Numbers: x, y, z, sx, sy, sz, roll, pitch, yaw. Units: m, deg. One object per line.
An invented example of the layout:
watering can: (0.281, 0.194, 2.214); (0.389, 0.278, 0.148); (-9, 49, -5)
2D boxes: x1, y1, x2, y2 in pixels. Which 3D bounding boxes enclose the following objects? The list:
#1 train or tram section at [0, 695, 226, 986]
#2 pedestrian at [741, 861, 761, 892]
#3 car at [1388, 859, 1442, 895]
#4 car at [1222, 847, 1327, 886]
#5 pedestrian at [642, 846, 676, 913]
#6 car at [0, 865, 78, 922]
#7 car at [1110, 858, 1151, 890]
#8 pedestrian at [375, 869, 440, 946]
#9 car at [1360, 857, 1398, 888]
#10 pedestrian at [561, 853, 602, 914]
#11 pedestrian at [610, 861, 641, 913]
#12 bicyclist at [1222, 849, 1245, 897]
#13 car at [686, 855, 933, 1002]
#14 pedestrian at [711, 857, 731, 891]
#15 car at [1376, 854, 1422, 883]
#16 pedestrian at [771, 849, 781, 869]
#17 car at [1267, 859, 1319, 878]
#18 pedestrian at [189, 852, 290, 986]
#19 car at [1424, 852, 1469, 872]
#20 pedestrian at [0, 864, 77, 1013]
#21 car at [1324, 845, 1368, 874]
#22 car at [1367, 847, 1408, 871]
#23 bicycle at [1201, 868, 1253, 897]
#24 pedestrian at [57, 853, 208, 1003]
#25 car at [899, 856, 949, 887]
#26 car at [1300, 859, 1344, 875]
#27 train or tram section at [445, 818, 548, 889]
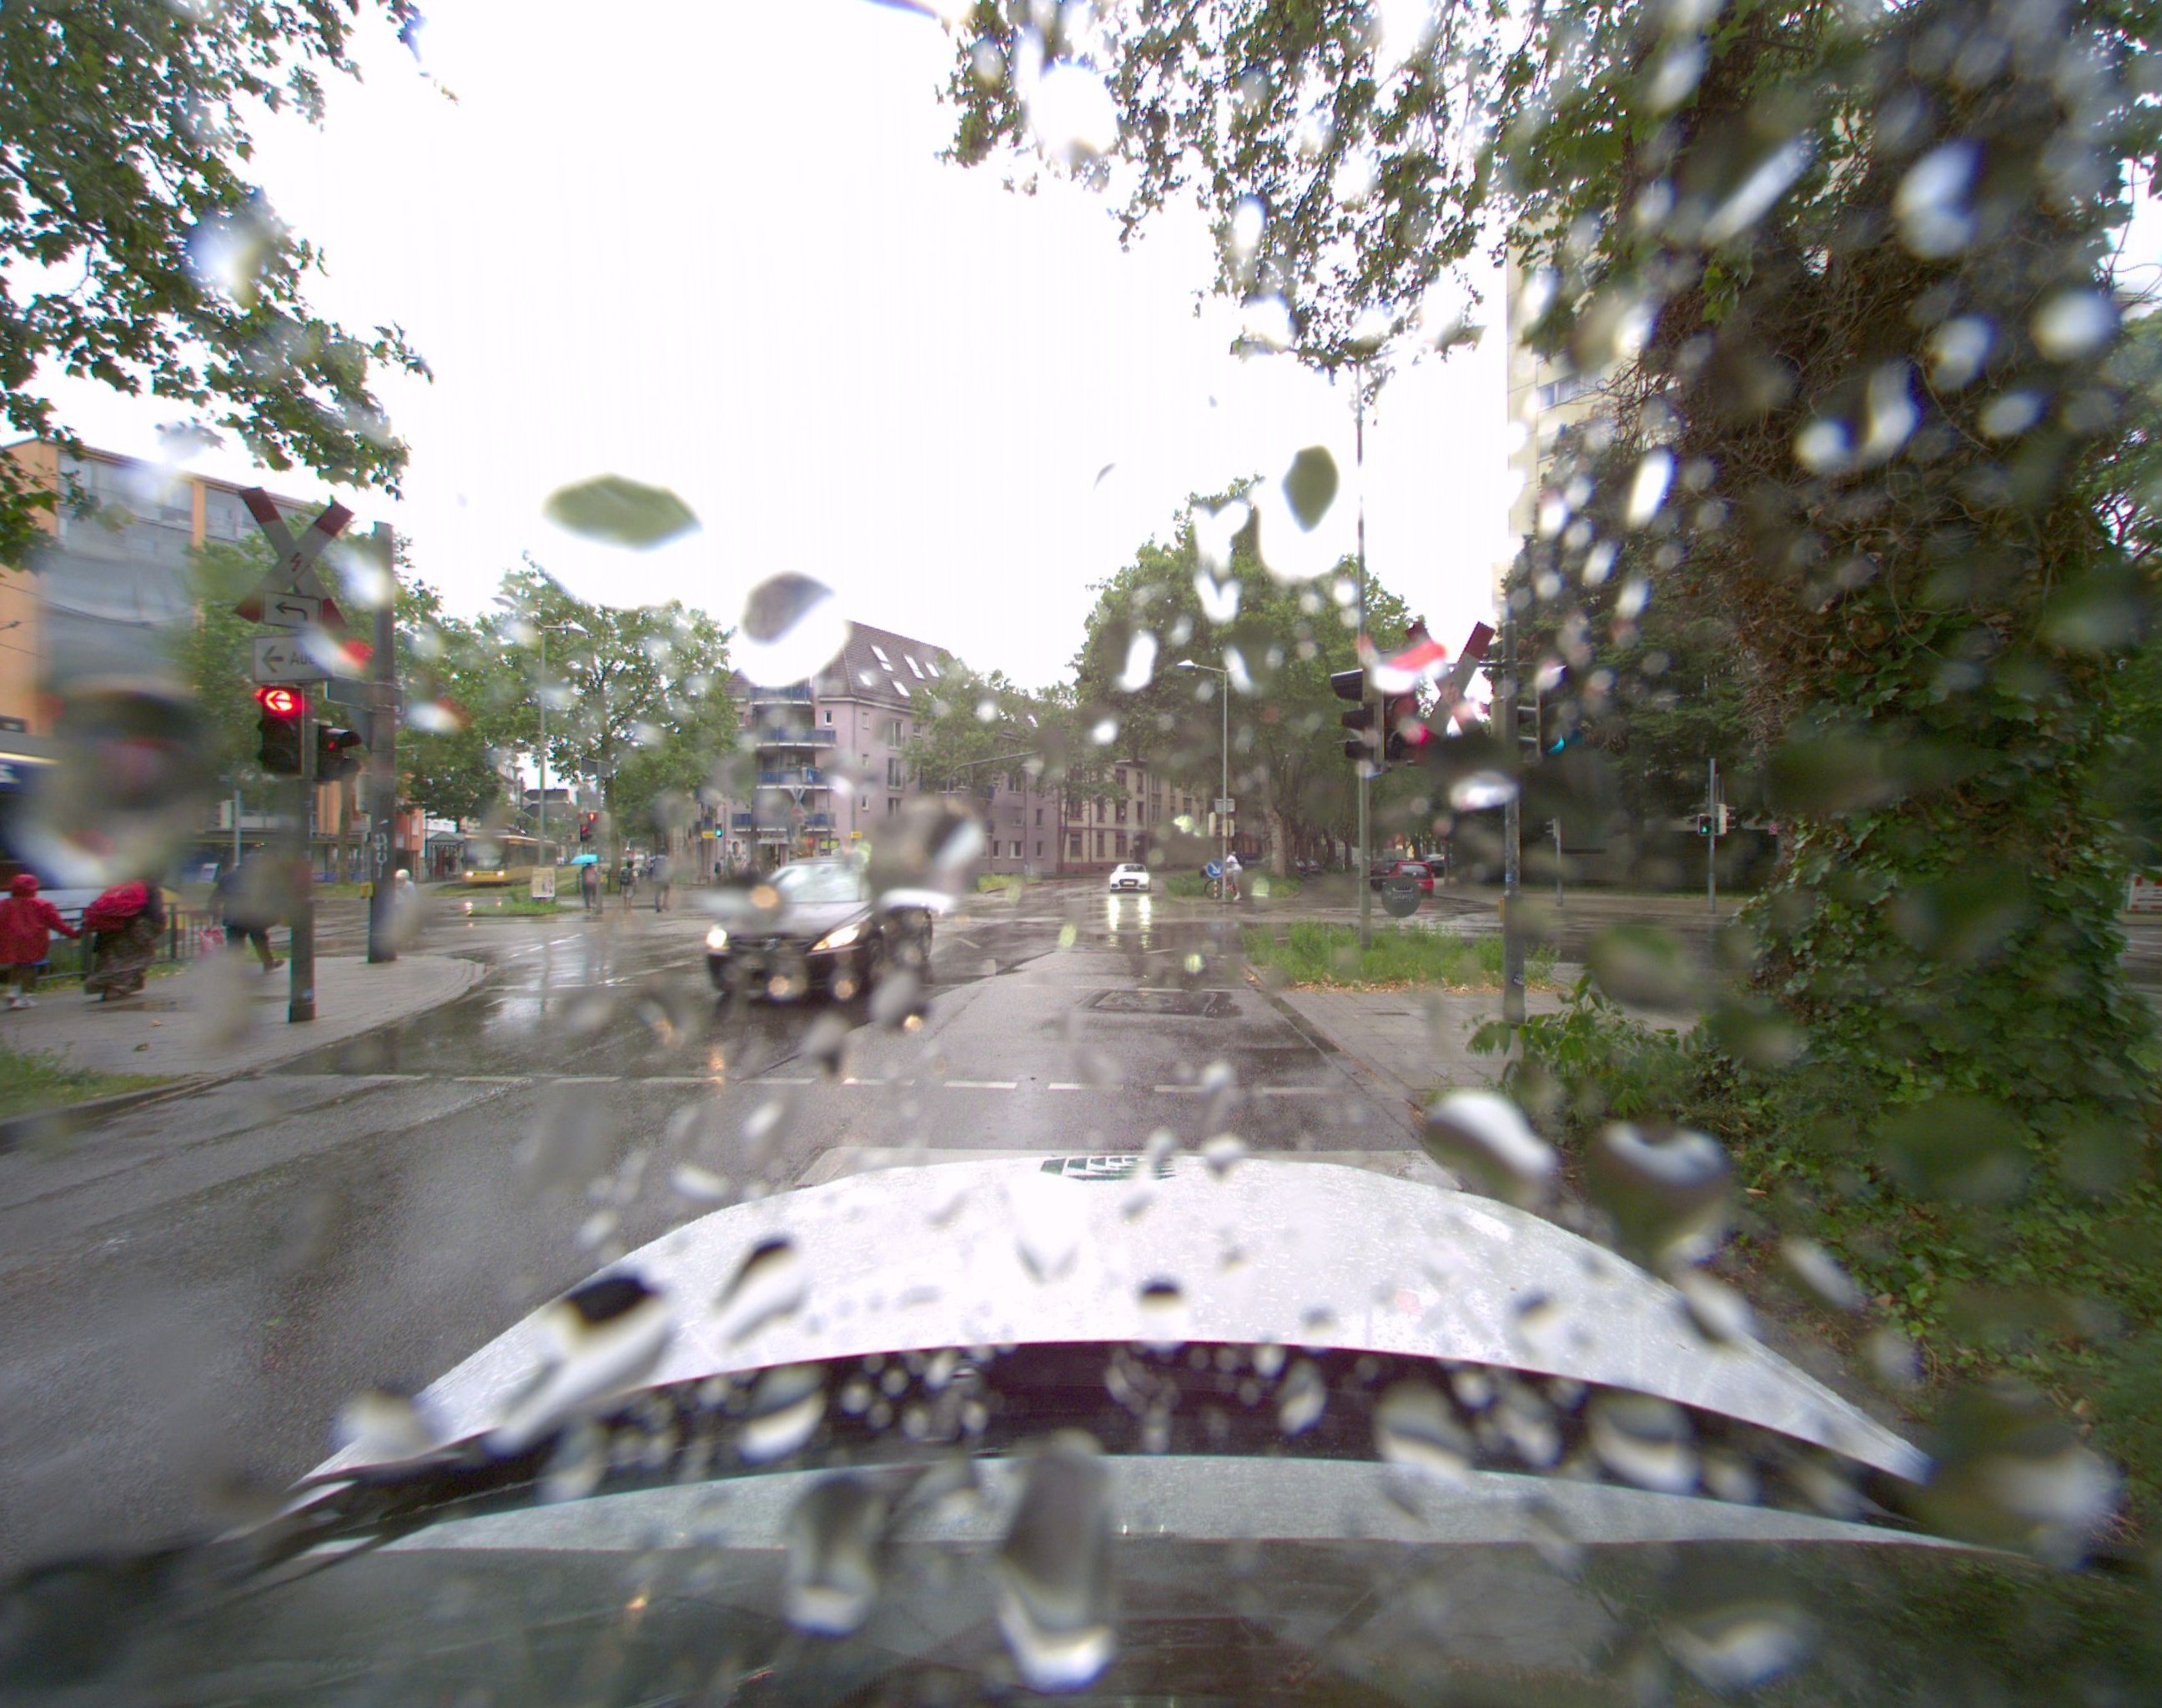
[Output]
train or tram section: (-13.780, -0.169, 6.310); (2.864, 3.545, 13.652); (0, 0, -14)
pedestrian: (-16.256, 1.092, 40.133); (0.749, 1.533, 0.789); (0, -1, -9)
car: (14.820, 0.979, 36.331); (1.778, 1.498, 4.017); (0, 0, 16)
car: (7.747, 0.516, 32.659); (3.958, 1.486, 2.008); (-1, -1, 14)
pedestrian: (-11.935, 0.704, 23.041); (0.791, 1.855, 0.676); (0, 0, -22)
car: (-31.554, 1.095, 23.506); (3.994, 1.530, 1.615); (0, 1, 12)
car: (2.406, 0.933, 39.183); (1.876, 1.436, 4.004); (0, 0, 4)
pedestrian: (-12.273, 0.956, 14.862); (0.657, 1.349, 0.706); (0, 0, -12)
car: (17.318, 1.061, 47.423); (1.769, 1.727, 4.017); (-1, -1, 16)
pedestrian: (-14.964, 0.862, 24.419); (0.962, 1.766, 0.944); (0, -1, -28)
pedestrian: (-12.563, 0.900, 22.455); (0.651, 1.396, 0.776); (0, 0, -23)
bicyclist: (5.685, 0.712, 30.362); (0.790, 1.786, 0.699); (-1, -1, 9)
car: (-3.056, 0.757, 10.013); (1.708, 1.459, 3.748); (0, -1, 1)
pedestrian: (-16.981, 0.939, 38.412); (0.674, 1.600, 0.963); (0, -1, -14)
car: (15.888, 0.695, 40.867); (1.770, 1.348, 3.945); (0, 1, 16)
pedestrian: (-20.681, 0.340, 55.169); (0.560, 1.329, 0.443); (0, -1, -13)
car: (16.941, 1.136, 65.219); (3.958, 1.486, 2.008); (-1, -1, 14)
pedestrian: (-11.332, 0.833, 10.994); (0.844, 1.698, 0.680); (-3, 2, -42)
car: (37.170, 0.795, 82.896); (3.838, 1.961, 1.875); (0, -1, 6)
pedestrian: (-11.437, 0.879, 8.661); (0.682, 1.520, 0.657); (-1, 0, -11)
car: (28.313, 0.584, 87.214); (2.040, 2.948, 4.742); (0, -1, -18)
car: (38.978, 0.638, 103.566); (2.006, 2.948, 4.726); (0, -1, -29)
bicycle: (5.446, 1.067, 30.395); (1.862, 1.081, 0.658); (-1, -1, 9)
pedestrian: (-10.873, 0.809, 9.371); (0.728, 1.624, 0.816); (-1, 1, -5)
car: (-8.013, 0.850, 41.836); (1.745, 1.512, 3.839); (0, 0, 1)
car: (23.128, 1.251, 78.258); (3.958, 1.547, 2.008); (-1, -1, 14)
train or tram section: (-36.326, 0.050, 51.338); (2.897, 3.768, 17.089); (0, -1, -28)
